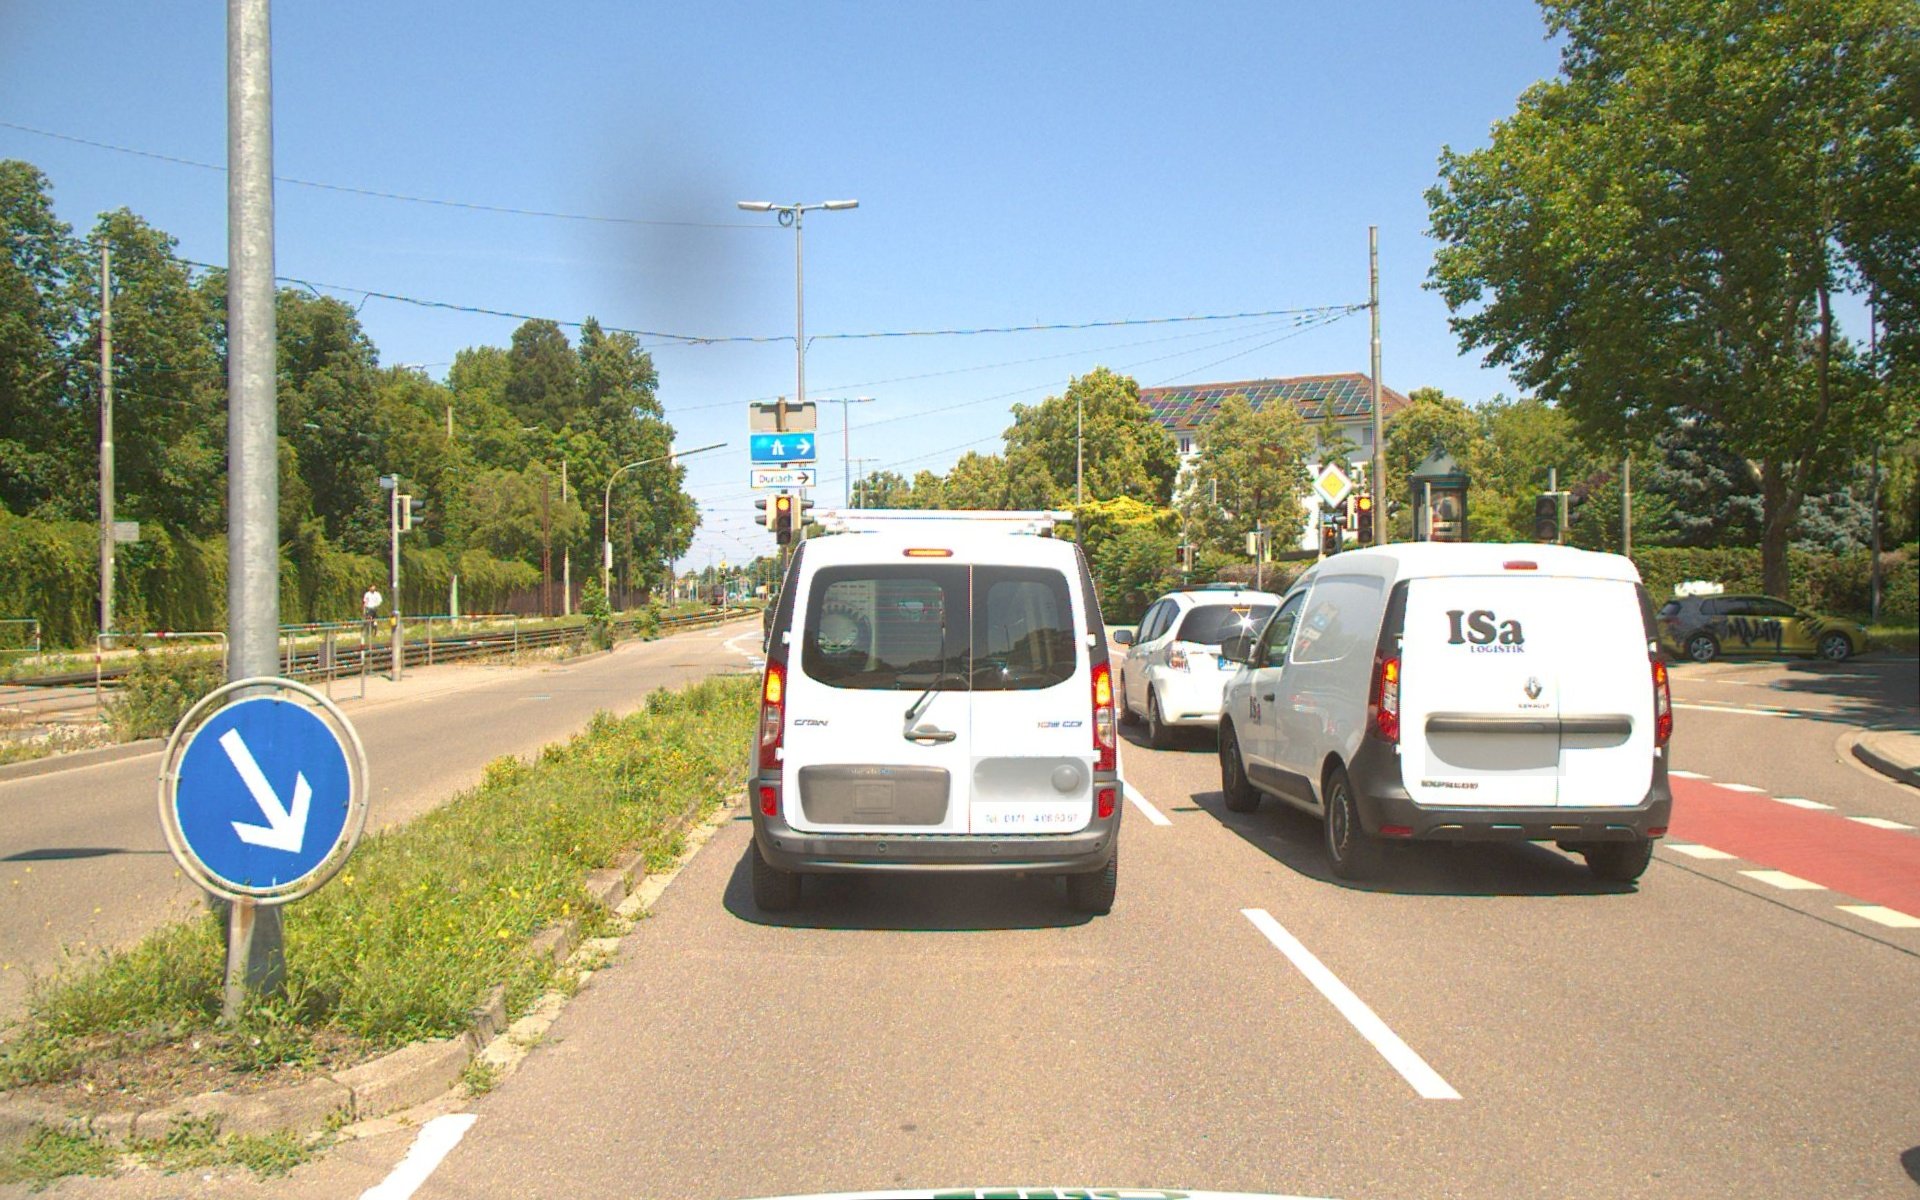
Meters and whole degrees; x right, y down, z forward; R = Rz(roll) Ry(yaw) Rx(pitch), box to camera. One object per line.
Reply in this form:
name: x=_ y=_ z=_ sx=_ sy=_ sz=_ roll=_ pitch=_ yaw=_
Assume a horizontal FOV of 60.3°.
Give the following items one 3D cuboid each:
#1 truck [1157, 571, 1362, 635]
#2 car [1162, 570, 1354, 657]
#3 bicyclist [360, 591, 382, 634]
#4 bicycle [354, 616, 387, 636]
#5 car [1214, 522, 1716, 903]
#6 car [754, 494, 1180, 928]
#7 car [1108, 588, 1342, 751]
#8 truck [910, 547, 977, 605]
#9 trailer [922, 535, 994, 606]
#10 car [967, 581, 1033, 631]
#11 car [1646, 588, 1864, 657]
truck: x=10.011 y=0.108 z=55.171 sx=6.562 sy=2.049 sz=2.308 roll=0 pitch=0 yaw=14
car: x=6.815 y=0.302 z=37.857 sx=3.911 sy=1.892 sz=1.997 roll=0 pitch=0 yaw=29
bicyclist: x=-20.649 y=0.433 z=58.001 sx=0.546 sy=1.504 sz=0.561 roll=0 pitch=0 yaw=-1
bicycle: x=-20.637 y=0.904 z=57.908 sx=0.550 sy=0.659 sz=1.720 roll=0 pitch=0 yaw=-1
car: x=2.806 y=0.538 z=10.163 sx=1.676 sy=1.862 sz=4.011 roll=0 pitch=0 yaw=-3
car: x=-0.039 y=0.474 z=9.086 sx=1.829 sy=1.868 sz=3.847 roll=1 pitch=0 yaw=-2
car: x=2.686 y=0.647 z=17.617 sx=1.720 sy=1.512 sz=3.999 roll=1 pitch=0 yaw=-2
truck: x=-1.180 y=-1.527 z=109.920 sx=3.508 sy=3.696 sz=8.795 roll=0 pitch=0 yaw=-7
trailer: x=-0.216 y=-1.724 z=101.095 sx=3.460 sy=4.121 sz=8.965 roll=0 pitch=0 yaw=-6
car: x=1.573 y=0.224 z=66.836 sx=1.957 sy=1.948 sz=3.991 roll=0 pitch=0 yaw=-10
car: x=16.724 y=0.459 z=34.958 sx=3.904 sy=1.403 sz=1.545 roll=0 pitch=0 yaw=13
